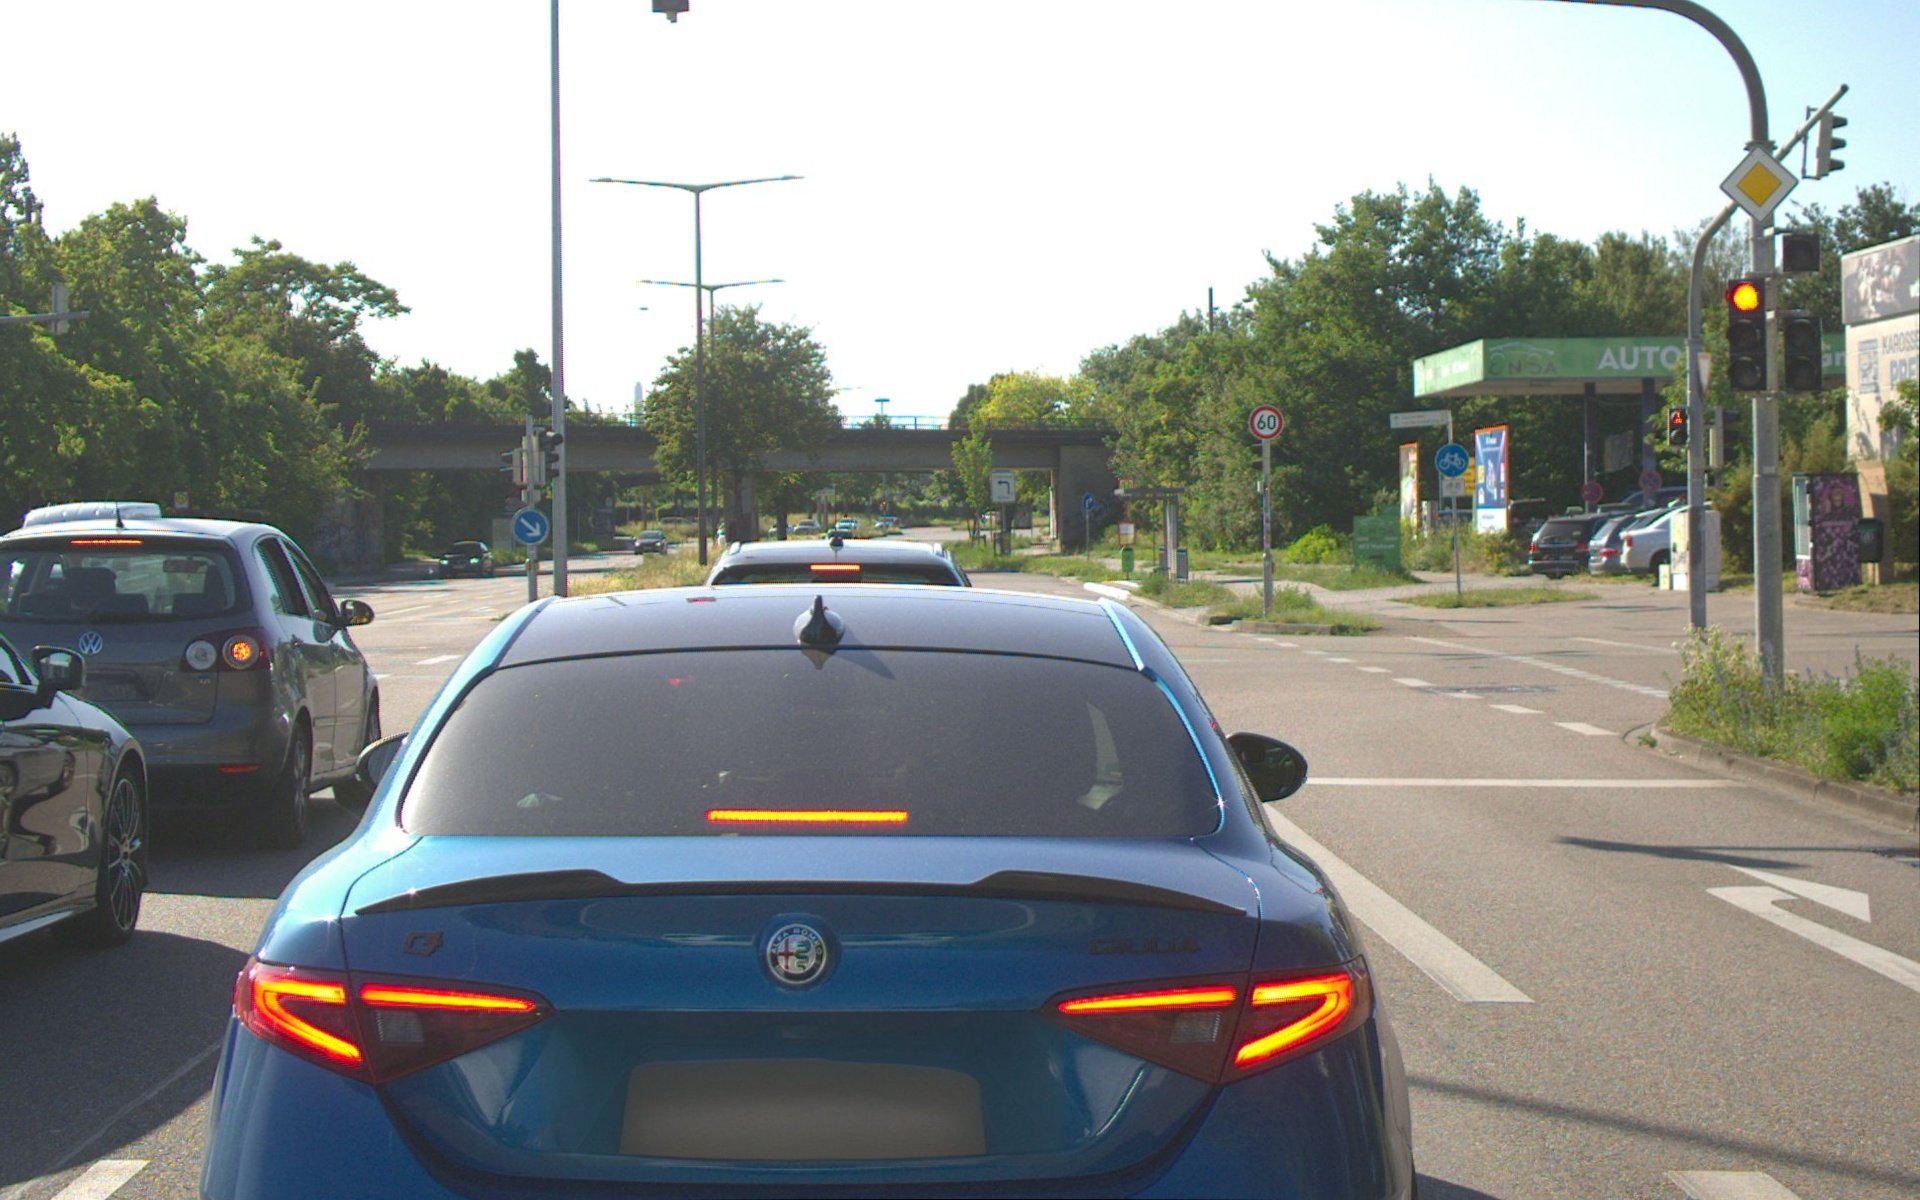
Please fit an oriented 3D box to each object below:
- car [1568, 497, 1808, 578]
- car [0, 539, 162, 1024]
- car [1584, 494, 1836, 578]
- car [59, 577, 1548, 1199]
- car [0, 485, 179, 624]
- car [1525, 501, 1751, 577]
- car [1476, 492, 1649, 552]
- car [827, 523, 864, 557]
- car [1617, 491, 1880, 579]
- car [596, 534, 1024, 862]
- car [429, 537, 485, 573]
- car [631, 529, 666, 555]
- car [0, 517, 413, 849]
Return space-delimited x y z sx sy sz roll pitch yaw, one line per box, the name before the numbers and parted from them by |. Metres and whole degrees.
car | 14.811 -1.267 70.103 4.489 1.449 1.858 -2 1 1
car | -3.830 0.543 10.617 1.796 1.485 4.476 1 1 -2
car | 14.655 -1.250 67.349 4.489 1.449 1.858 -2 1 1
car | -0.263 0.683 6.607 1.895 1.413 4.403 1 1 -2
car | -16.802 -0.881 66.513 2.022 2.439 5.822 -4 1 -1
car | 14.591 -1.315 74.153 4.489 1.449 1.858 -2 1 1
car | 17.038 -2.197 97.317 4.551 1.485 1.765 -2 1 1
car | -6.246 -3.266 187.329 1.891 1.809 4.000 1 1 -1
car | 14.771 -1.212 64.570 4.489 1.449 1.858 -2 1 1
car | -0.719 0.407 17.240 1.850 1.413 4.403 1 1 -2
car | -21.789 -1.956 149.061 1.759 1.485 4.478 -2 1 0
car | -19.170 -3.583 211.852 1.759 1.485 4.478 -2 1 0
car | -3.996 0.349 17.716 1.759 1.485 4.403 1 1 -2
